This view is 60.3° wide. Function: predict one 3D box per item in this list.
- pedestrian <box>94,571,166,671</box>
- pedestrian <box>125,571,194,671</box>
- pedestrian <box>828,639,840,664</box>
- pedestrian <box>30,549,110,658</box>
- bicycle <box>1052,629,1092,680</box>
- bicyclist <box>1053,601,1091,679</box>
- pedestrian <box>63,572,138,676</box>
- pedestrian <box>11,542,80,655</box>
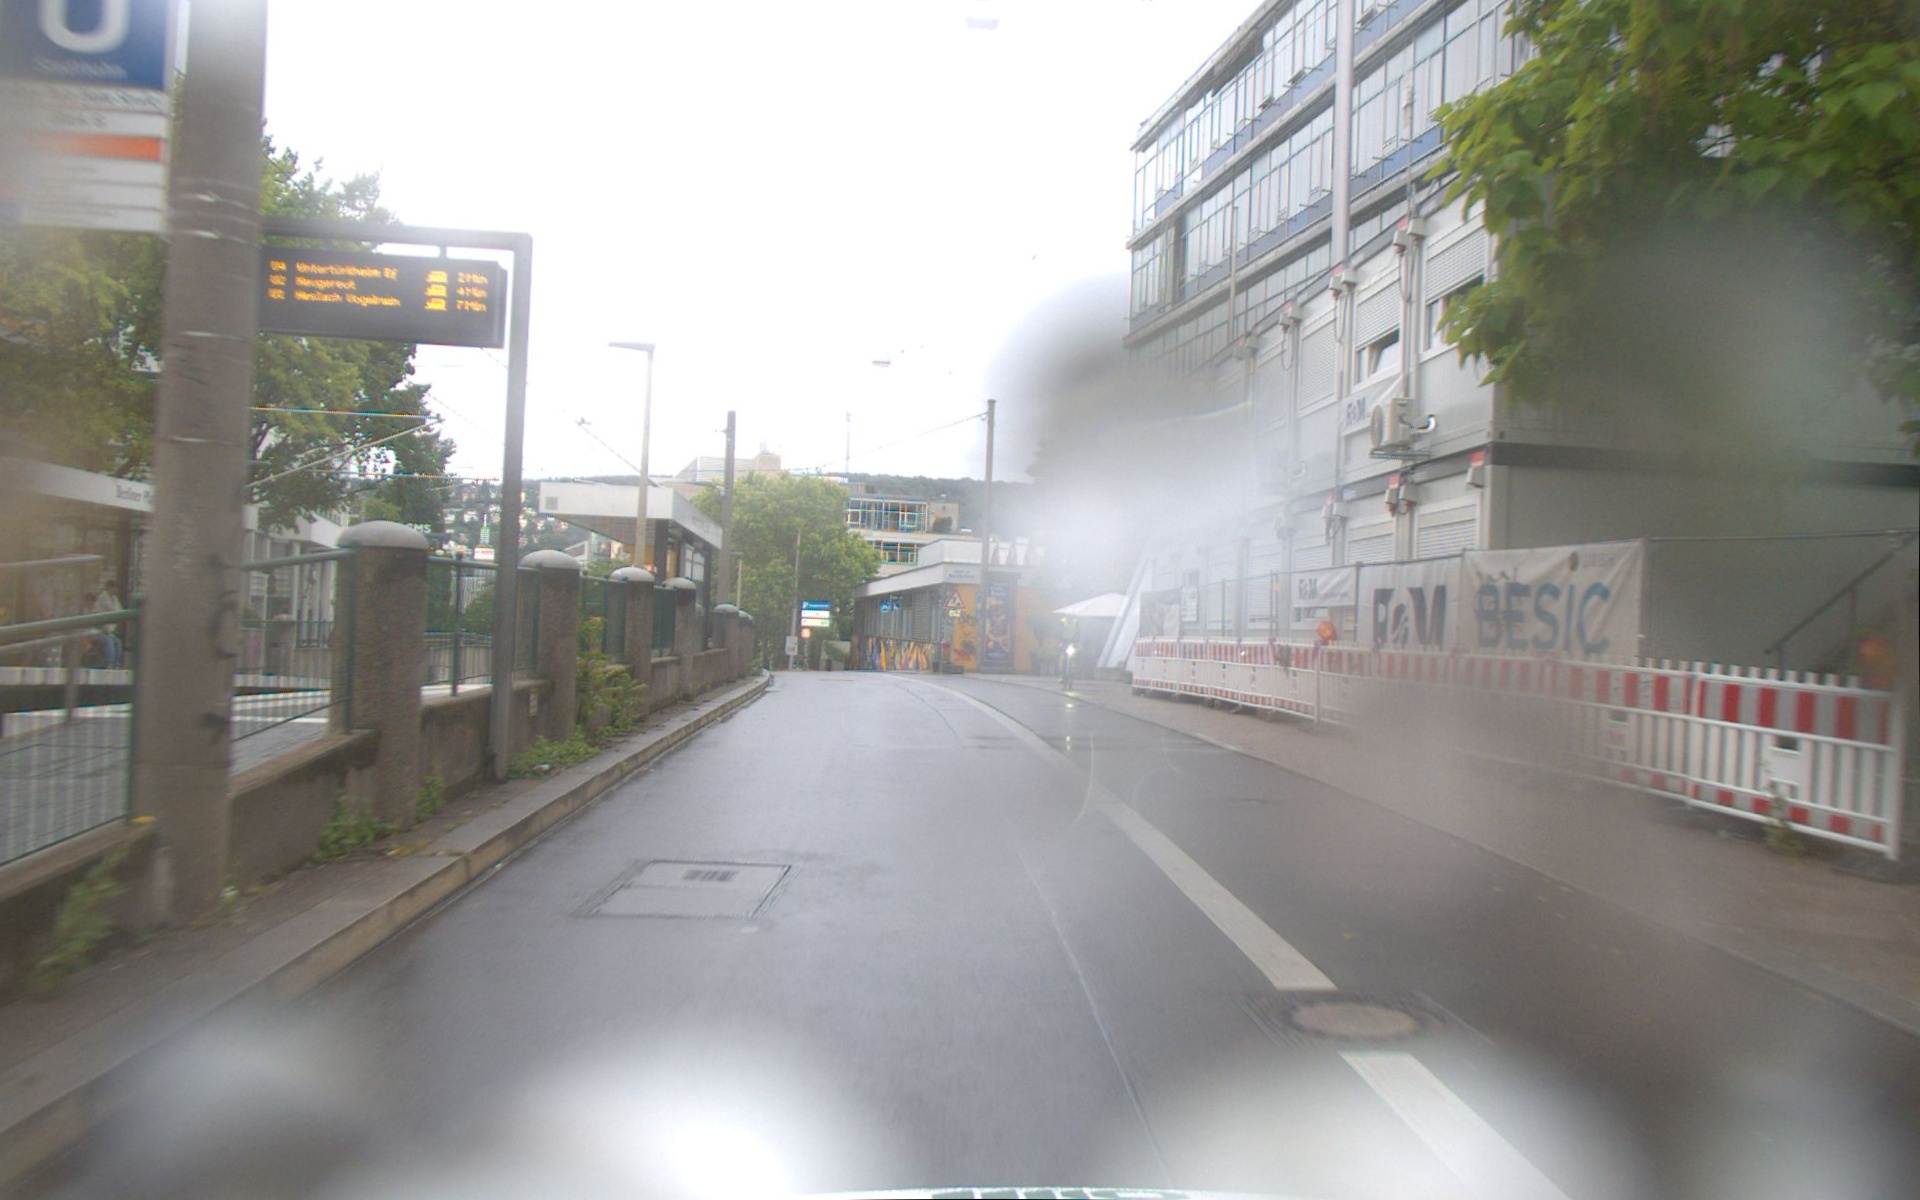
[{"bbox_3d":[-14.534,0.363,28.977,0.756,1.677,0.777,-4,-1,0],"label":"pedestrian"},{"bbox_3d":[-14.095,0.366,29.141,0.663,1.677,0.895,-5,-1,0],"label":"pedestrian"},{"bbox_3d":[-9.794,4.026,128.723,0.792,1.897,1.053,0,-2,-11],"label":"pedestrian"},{"bbox_3d":[-14.365,0.059,26.700,0.756,1.677,0.777,-4,-1,0],"label":"pedestrian"},{"bbox_3d":[2.438,1.187,36.113,0.648,1.071,2.055,1,-2,-2],"label":"bicycle"},{"bbox_3d":[2.437,0.868,36.051,0.648,1.667,0.792,-3,-1,-3],"label":"bicyclist"},{"bbox_3d":[-14.551,0.400,28.026,0.756,1.677,0.777,-4,-1,0],"label":"pedestrian"},{"bbox_3d":[-13.961,-0.026,25.258,0.620,1.689,0.682,2,0,0],"label":"pedestrian"}]
